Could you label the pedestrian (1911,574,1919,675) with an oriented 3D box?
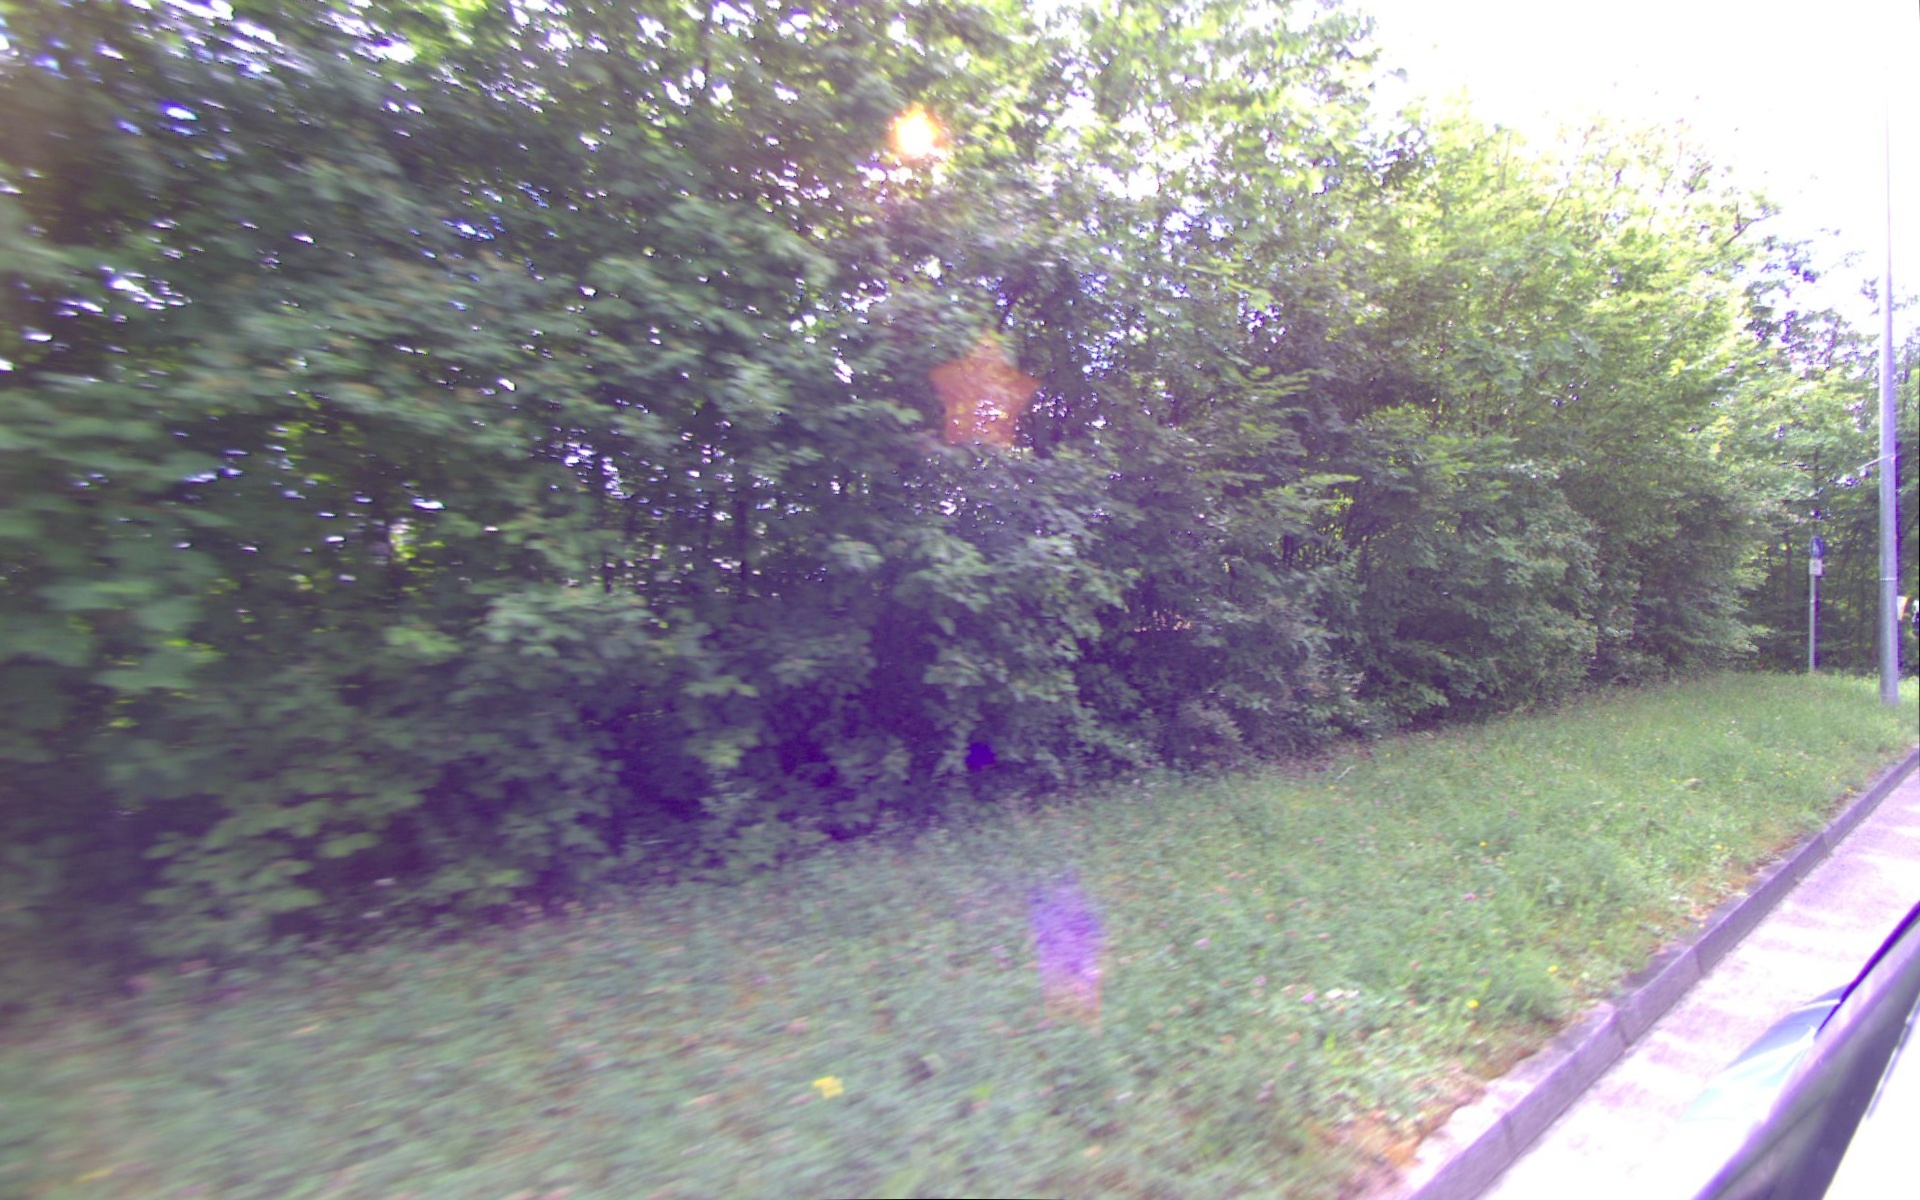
[{"bbox_3d":[17.582,0.443,18.071,0.675,1.806,0.584,1,0,23],"label":"pedestrian"}]
